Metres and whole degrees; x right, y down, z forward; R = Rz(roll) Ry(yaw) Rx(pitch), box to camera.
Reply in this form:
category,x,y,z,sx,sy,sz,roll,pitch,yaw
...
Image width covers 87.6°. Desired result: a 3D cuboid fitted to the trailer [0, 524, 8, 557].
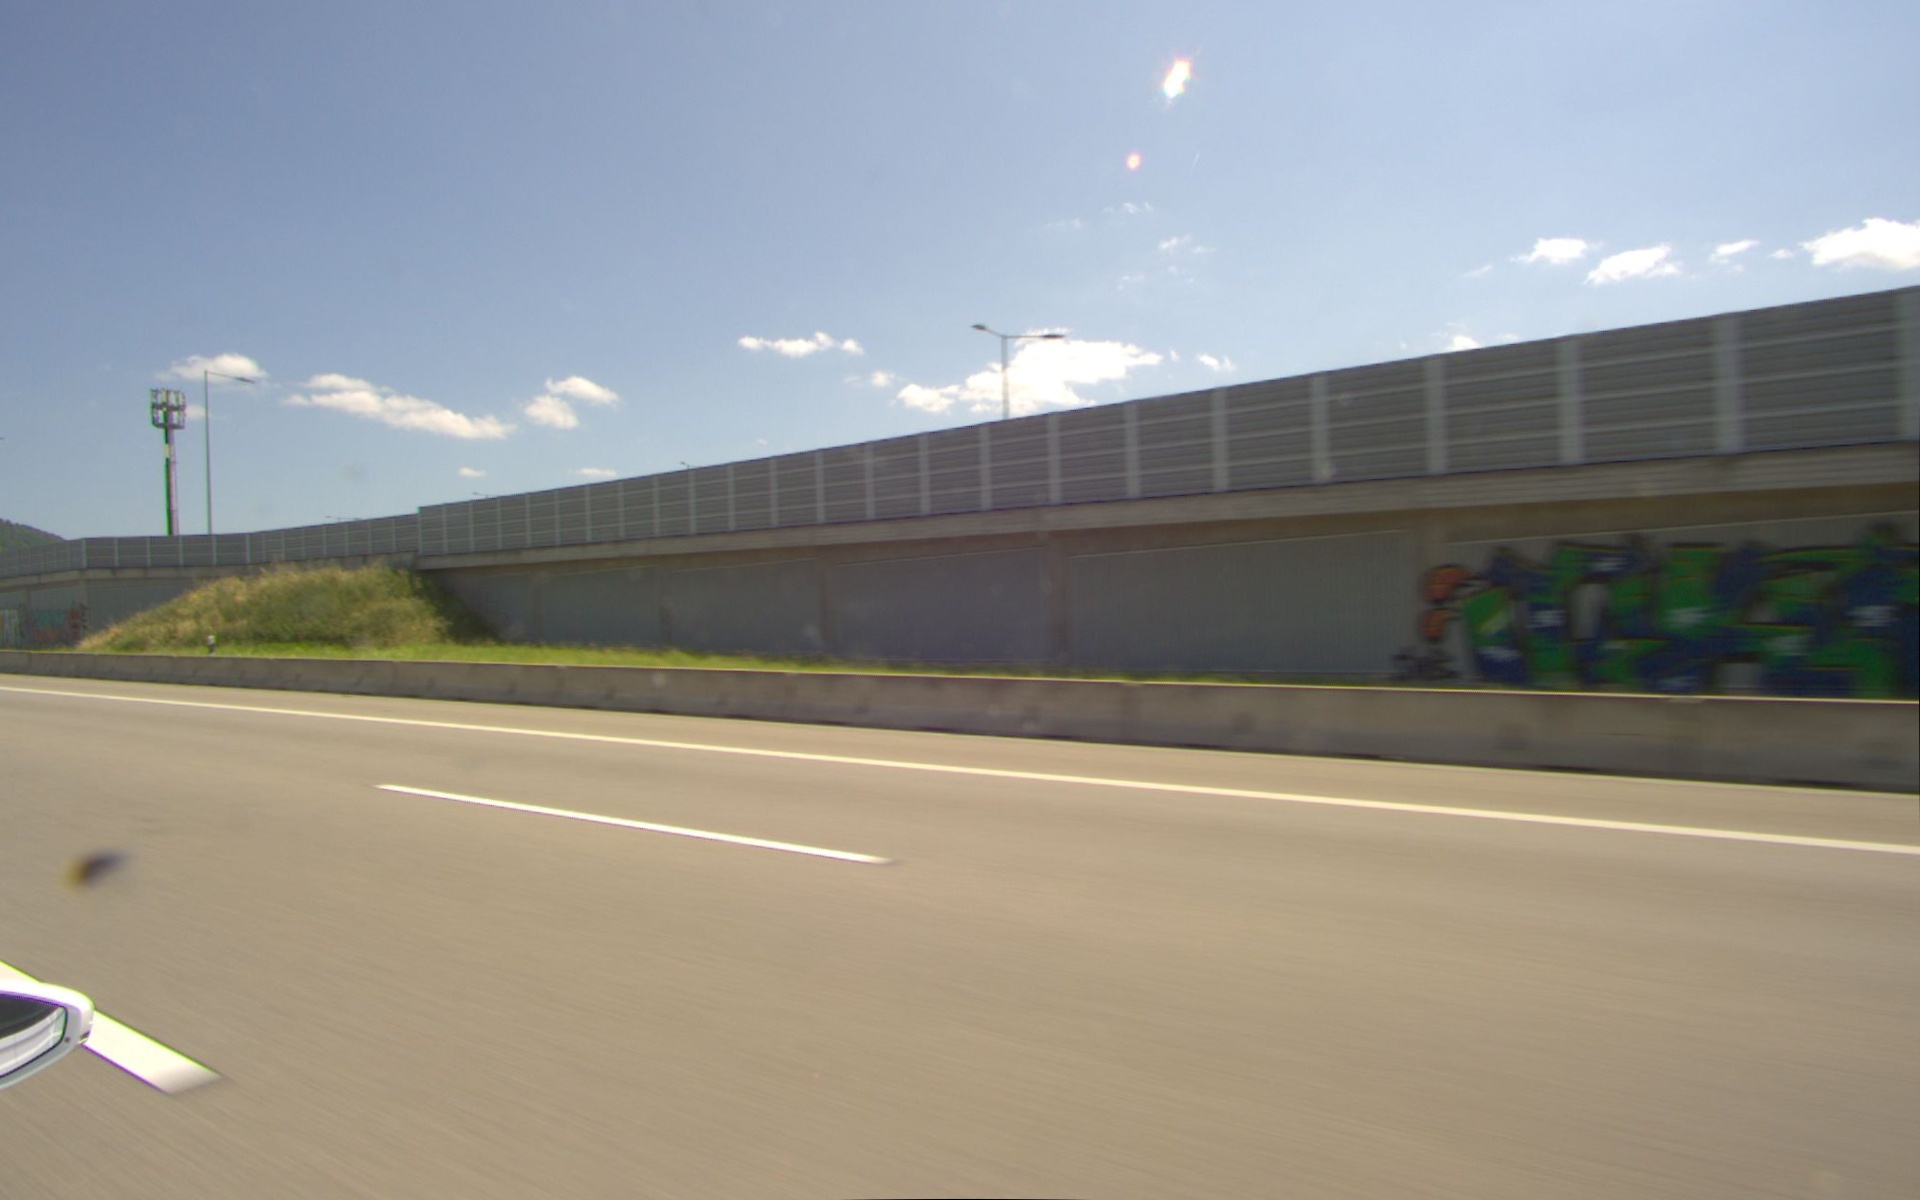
category,x,y,z,sx,sy,sz,roll,pitch,yaw
trailer,-76.441,-4.252,75.884,14.320,2.252,2.715,-1,-2,32
